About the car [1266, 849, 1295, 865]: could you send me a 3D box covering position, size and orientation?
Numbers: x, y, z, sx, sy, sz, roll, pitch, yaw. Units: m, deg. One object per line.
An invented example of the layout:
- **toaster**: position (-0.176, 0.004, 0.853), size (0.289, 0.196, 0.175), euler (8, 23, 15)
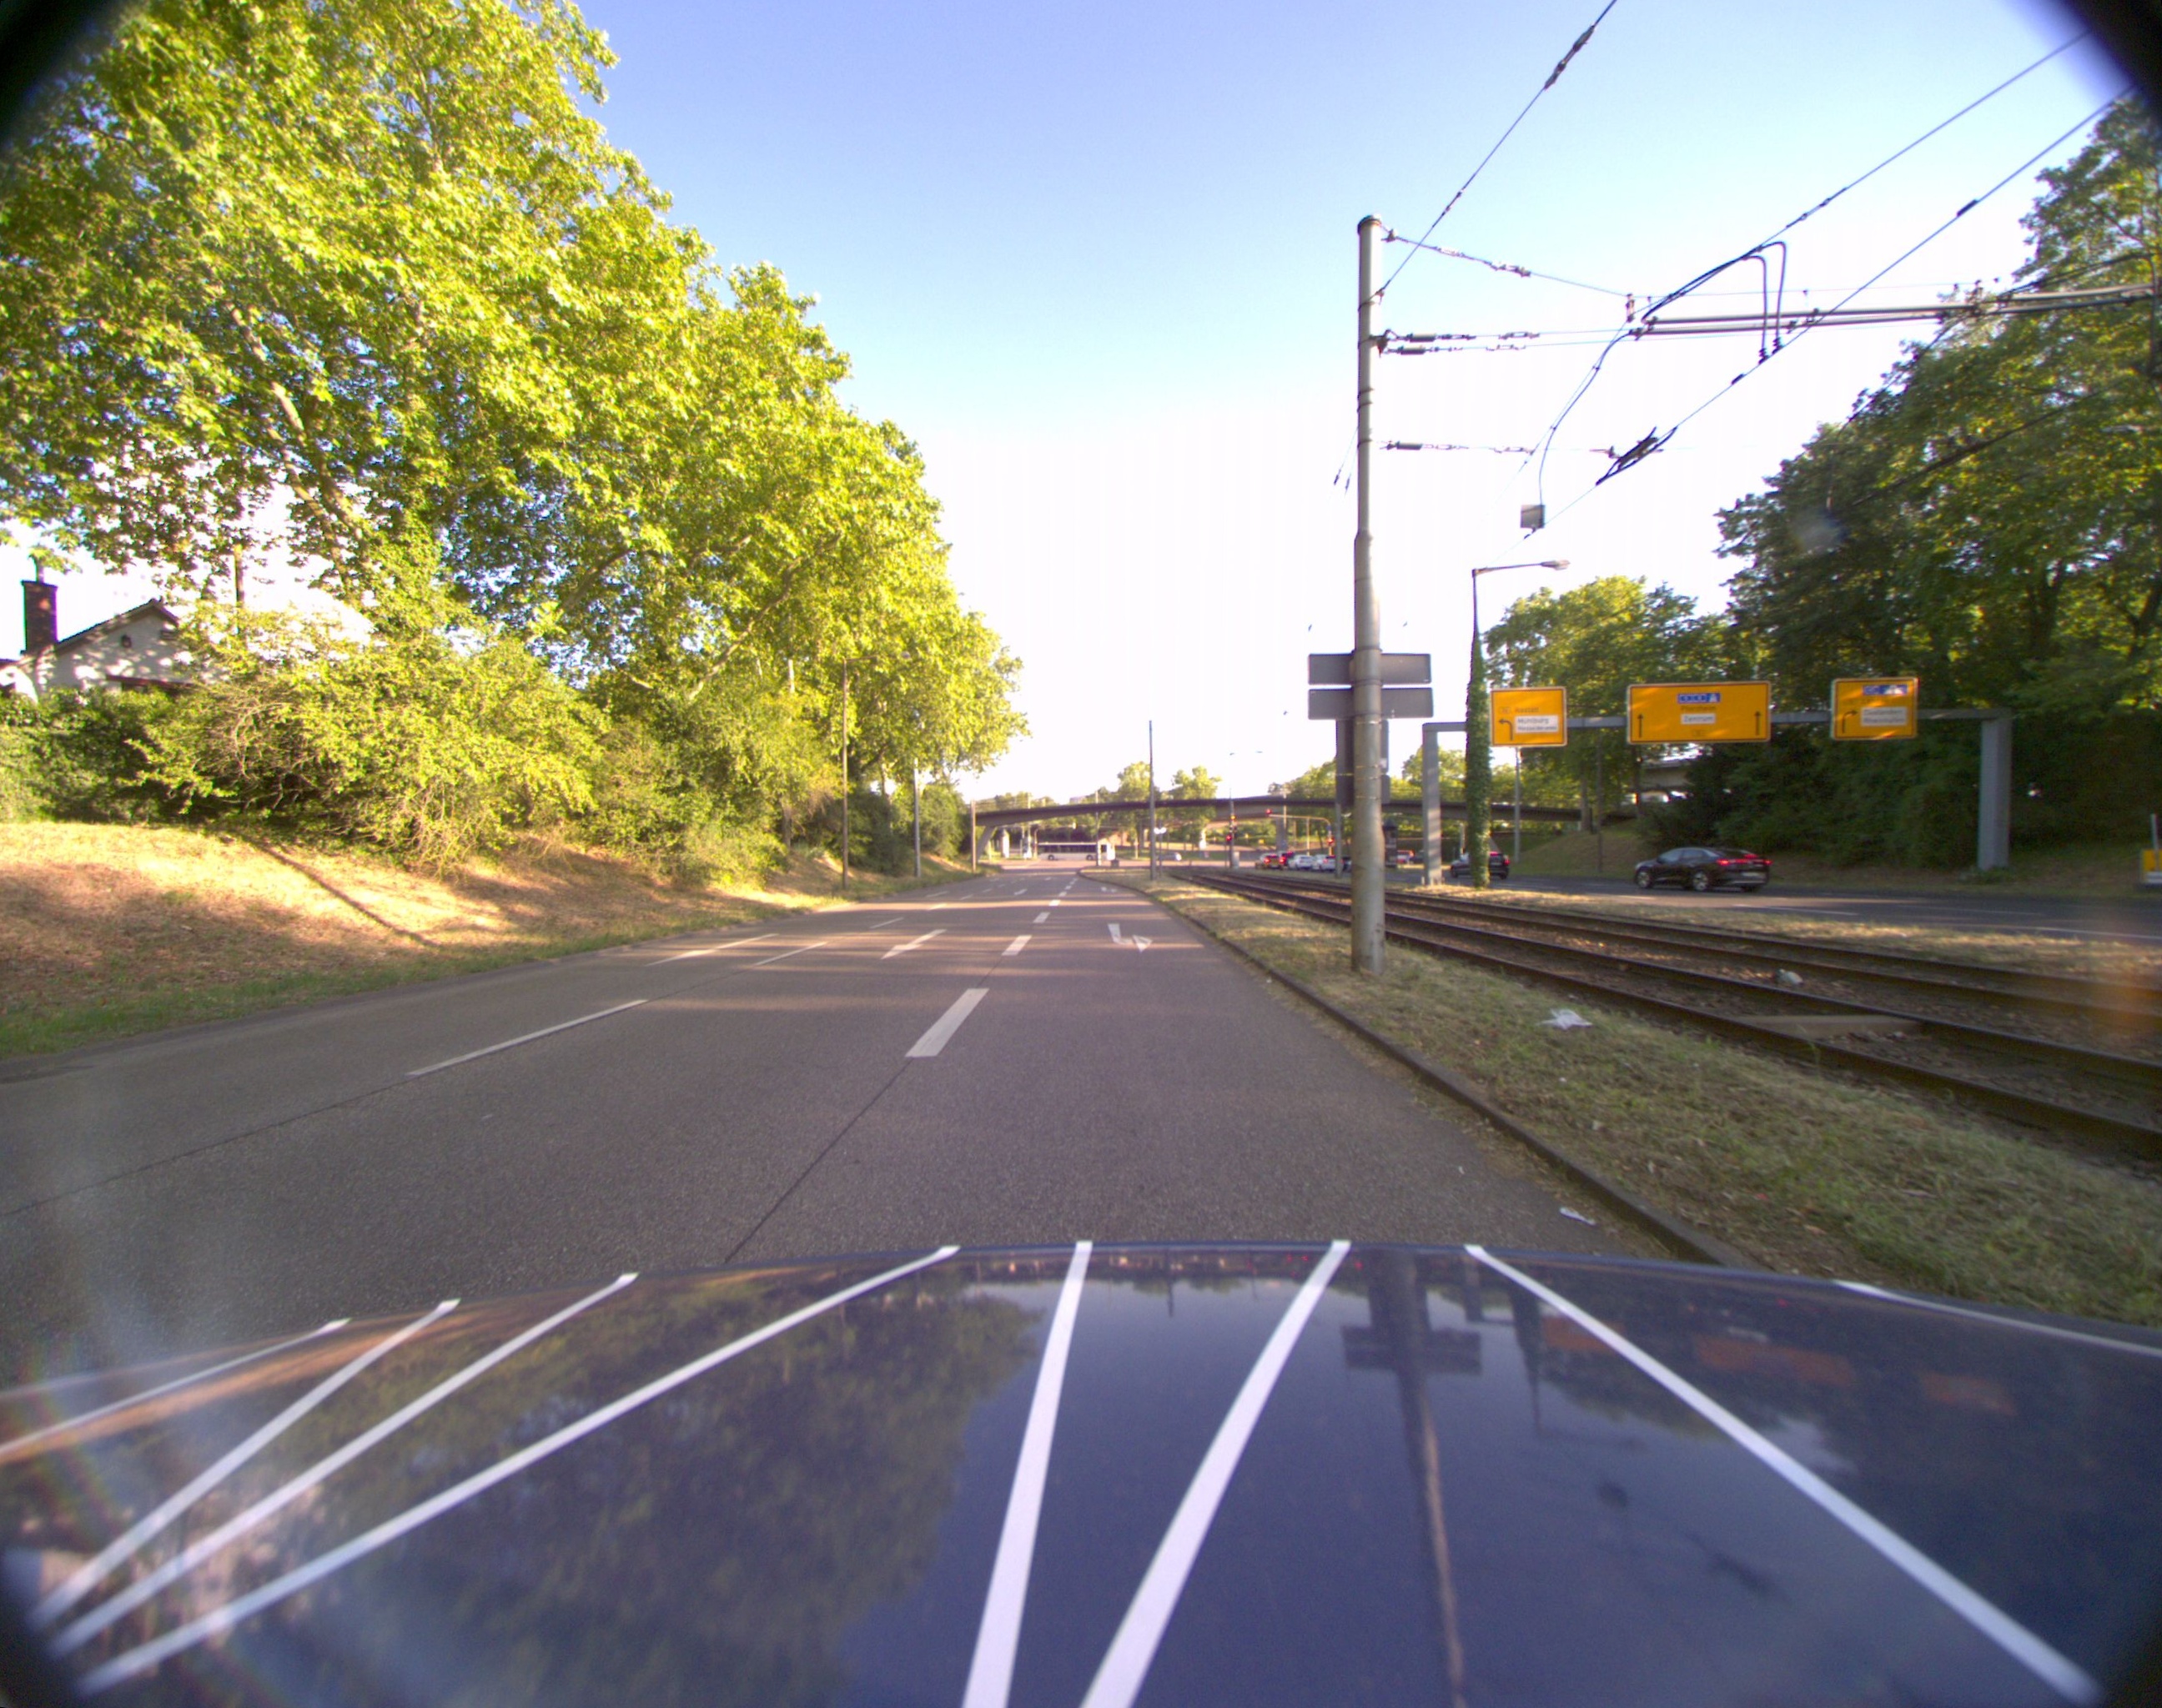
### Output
- **car**: position (19.590, 0.261, 74.735), size (1.917, 1.540, 4.227), euler (-1, 0, 4)

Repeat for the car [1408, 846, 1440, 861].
- **car**: position (46.699, -0.091, 103.493), size (3.805, 1.848, 1.679), euler (-2, 1, 20)

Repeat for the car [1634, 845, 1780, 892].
- **car**: position (22.361, 0.470, 27.398), size (1.735, 1.536, 4.334), euler (-1, 0, 1)

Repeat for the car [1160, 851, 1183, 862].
- **car**: position (14.509, 0.440, 121.179), size (3.364, 1.560, 1.613), euler (-2, 0, 17)

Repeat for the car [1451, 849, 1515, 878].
- **car**: position (22.678, 0.496, 42.992), size (1.755, 1.548, 3.974), euler (0, 0, 4)

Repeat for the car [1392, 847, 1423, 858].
- **car**: position (46.679, -0.151, 108.686), size (3.868, 1.403, 1.814), euler (-2, 1, 20)

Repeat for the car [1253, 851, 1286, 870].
- **car**: position (16.155, 0.503, 65.229), size (1.767, 1.535, 4.000), euler (-1, 0, 0)

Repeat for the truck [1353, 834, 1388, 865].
- **truck**: position (28.391, -0.441, 74.792), size (2.281, 2.862, 6.886), euler (-1, 0, 13)

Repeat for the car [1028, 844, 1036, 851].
- **car**: position (-12.152, -1.547, 187.439), size (1.684, 1.779, 3.868), euler (-2, 0, -9)

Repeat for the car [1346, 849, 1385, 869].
- **car**: position (23.975, 0.406, 64.065), size (1.813, 1.535, 4.000), euler (-1, 0, 1)

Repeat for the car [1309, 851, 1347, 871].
- **car**: position (20.035, 0.539, 61.798), size (1.767, 1.535, 4.000), euler (-1, 0, 0)

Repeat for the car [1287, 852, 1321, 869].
- **car**: position (19.924, 0.541, 68.077), size (1.918, 1.416, 4.227), euler (-1, 0, 2)

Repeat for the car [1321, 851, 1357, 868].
- **car**: position (23.746, 0.486, 70.202), size (1.868, 1.416, 4.226), euler (-1, 0, 0)

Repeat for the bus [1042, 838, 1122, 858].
- **bus**: position (0.081, -0.938, 126.612), size (13.163, 2.846, 2.420), euler (-2, 1, 22)
